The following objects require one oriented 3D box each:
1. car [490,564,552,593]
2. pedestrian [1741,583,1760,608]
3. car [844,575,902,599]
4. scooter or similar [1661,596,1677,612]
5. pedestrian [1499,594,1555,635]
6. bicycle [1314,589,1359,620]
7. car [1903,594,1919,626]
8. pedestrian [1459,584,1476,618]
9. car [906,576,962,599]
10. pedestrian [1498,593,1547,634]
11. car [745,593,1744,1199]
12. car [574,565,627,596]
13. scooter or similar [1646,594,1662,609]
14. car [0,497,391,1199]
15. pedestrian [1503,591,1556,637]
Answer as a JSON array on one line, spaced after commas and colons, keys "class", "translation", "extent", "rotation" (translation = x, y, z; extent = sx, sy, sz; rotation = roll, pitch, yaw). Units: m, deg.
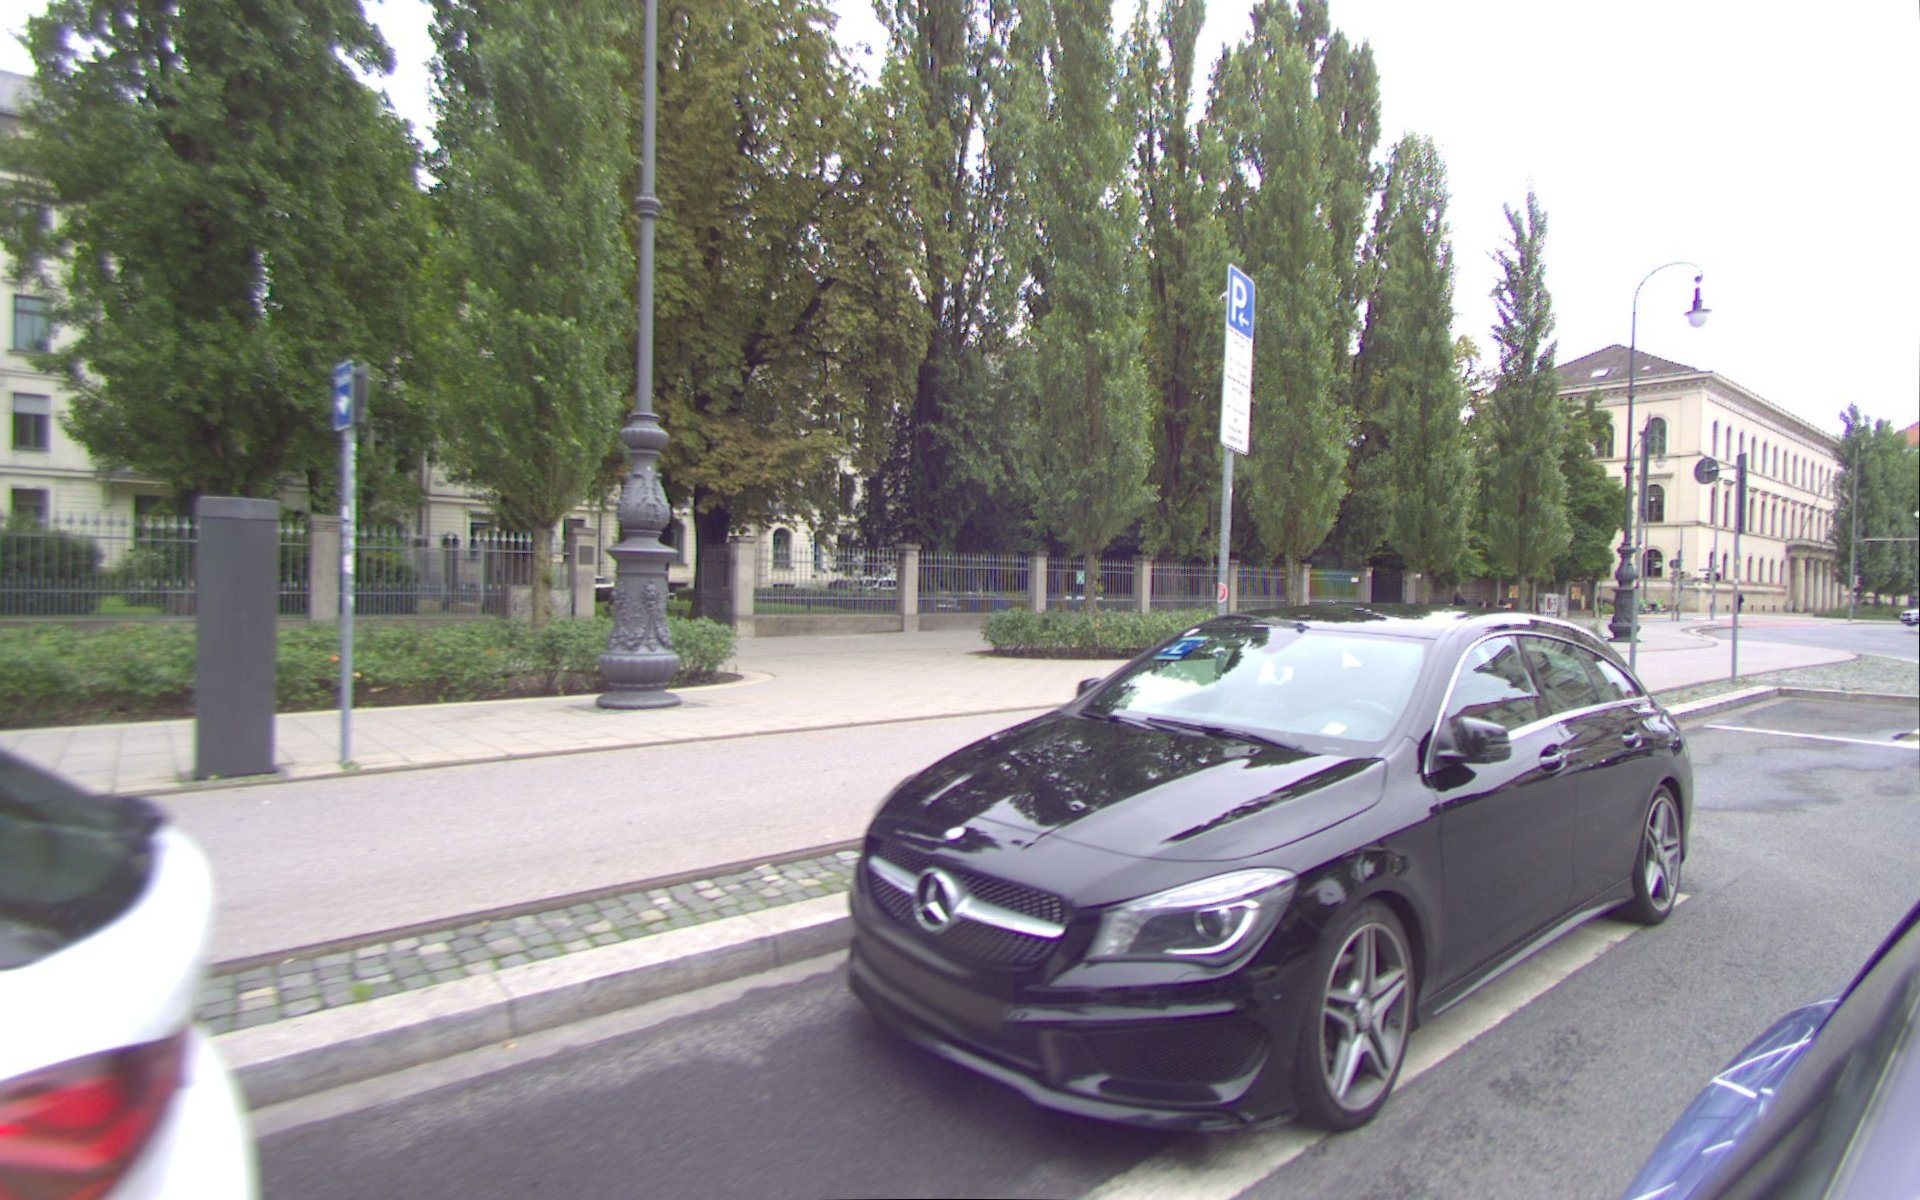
[{"class": "car", "translation": [-23.604, -1.172, 54.371], "extent": [1.964, 1.457, 4.526], "rotation": [0, 1, -38]}, {"class": "pedestrian", "translation": [63.657, -0.366, 81.472], "extent": [0.985, 2.039, 0.944], "rotation": [0, 1, -38]}, {"class": "car", "translation": [-5.989, -0.878, 69.218], "extent": [1.962, 1.594, 4.470], "rotation": [0, 1, -35]}, {"class": "scooter or similar", "translation": [53.891, 0.285, 76.938], "extent": [1.626, 1.155, 0.567], "rotation": [0, 1, -38]}, {"class": "pedestrian", "translation": [17.054, 0.421, 30.466], "extent": [1.354, 1.222, 0.802], "rotation": [0, 0, 22]}, {"class": "bicycle", "translation": [16.077, 0.199, 43.165], "extent": [0.672, 1.254, 2.952], "rotation": [3, 2, 44]}, {"class": "car", "translation": [60.576, 0.628, 61.634], "extent": [4.237, 1.880, 1.888], "rotation": [1, 1, 6]}, {"class": "pedestrian", "translation": [24.794, 0.063, 49.475], "extent": [0.527, 1.640, 0.590], "rotation": [0, 0, -39]}, {"class": "car", "translation": [-1.883, -0.879, 71.282], "extent": [1.914, 1.594, 4.267], "rotation": [0, 1, -35]}, {"class": "pedestrian", "translation": [17.305, 0.403, 31.144], "extent": [1.251, 1.231, 0.571], "rotation": [0, 0, 21]}, {"class": "car", "translation": [1.482, 0.659, 4.100], "extent": [4.291, 1.326, 1.739], "rotation": [0, 1, -39]}, {"class": "car", "translation": [-20.184, -1.121, 56.747], "extent": [1.620, 1.638, 3.997], "rotation": [1, 1, -38]}, {"class": "scooter or similar", "translation": [53.180, 0.110, 77.571], "extent": [1.626, 1.155, 0.567], "rotation": [0, 1, -38]}, {"class": "car", "translation": [-2.713, 0.650, 0.351], "extent": [4.142, 1.478, 1.791], "rotation": [0, 0, -40]}, {"class": "pedestrian", "translation": [16.565, 0.391, 29.479], "extent": [1.317, 1.290, 0.800], "rotation": [0, 0, 28]}]
